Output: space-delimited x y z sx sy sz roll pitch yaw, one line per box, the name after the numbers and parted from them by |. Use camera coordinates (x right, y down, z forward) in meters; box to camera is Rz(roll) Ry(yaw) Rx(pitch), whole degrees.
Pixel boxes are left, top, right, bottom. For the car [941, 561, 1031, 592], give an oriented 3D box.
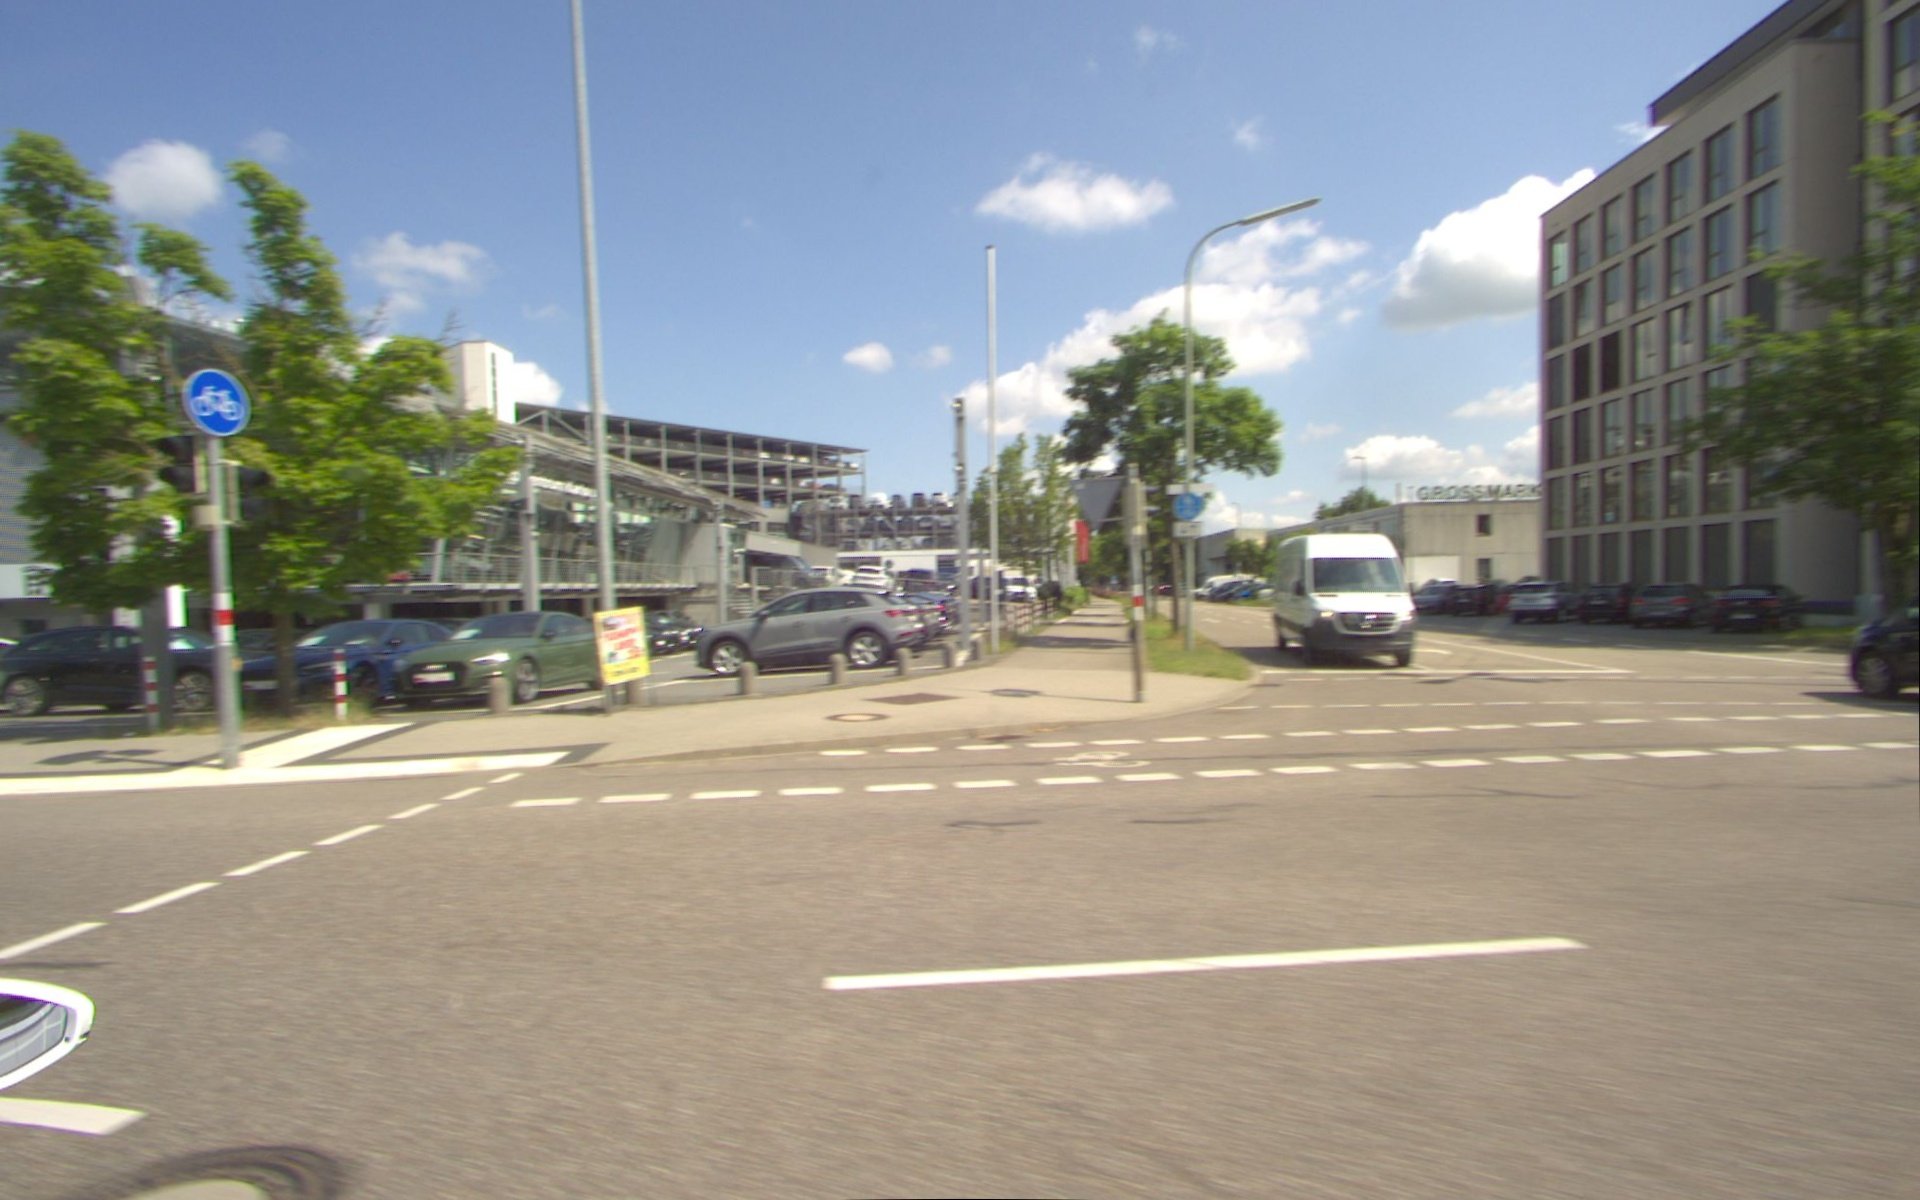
1.877 -1.658 71.140 6.283 2.130 1.765 1 0 2 | car

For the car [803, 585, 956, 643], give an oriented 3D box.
-2.458 0.424 31.262 4.500 1.700 1.907 1 0 4 | car

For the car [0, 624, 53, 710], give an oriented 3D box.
-17.474 1.119 16.266 1.761 1.482 4.003 -1 -3 2 | car

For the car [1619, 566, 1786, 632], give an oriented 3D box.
24.058 -0.024 32.567 3.922 2.040 2.000 1 0 -1 | car

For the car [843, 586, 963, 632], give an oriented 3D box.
-2.189 0.348 39.338 4.500 1.700 1.907 1 0 4 | car

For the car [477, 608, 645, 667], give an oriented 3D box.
-12.499 1.152 31.560 4.464 1.763 2.000 1 0 1 | car

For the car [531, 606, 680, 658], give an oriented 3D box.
-12.364 1.094 35.088 4.500 1.700 1.907 1 0 4 | car

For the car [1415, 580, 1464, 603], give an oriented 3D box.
37.086 -0.643 77.484 1.961 1.706 4.000 1 0 2 | car

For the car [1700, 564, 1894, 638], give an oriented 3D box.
24.035 0.034 28.876 3.922 2.040 2.000 1 0 -1 | car

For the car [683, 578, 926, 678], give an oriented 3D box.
-3.067 0.562 20.353 4.501 1.700 1.907 -3 0 4 | car

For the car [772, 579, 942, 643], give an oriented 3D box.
-2.846 0.314 28.332 4.500 1.700 1.907 1 0 4 | car

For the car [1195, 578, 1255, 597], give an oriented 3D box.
30.239 -1.437 114.439 6.238 2.040 2.573 1 0 5 | car

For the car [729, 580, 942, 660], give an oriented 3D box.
-2.734 0.435 22.646 4.500 1.700 1.907 1 0 4 | car

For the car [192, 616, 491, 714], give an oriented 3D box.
-9.713 0.938 16.273 1.870 1.314 4.590 1 0 2 | car

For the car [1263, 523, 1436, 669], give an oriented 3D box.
8.132 -0.053 21.697 2.098 2.641 6.861 1 0 9 | car

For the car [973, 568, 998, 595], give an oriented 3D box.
1.667 -1.143 63.712 1.535 1.572 3.602 1 0 2 | car

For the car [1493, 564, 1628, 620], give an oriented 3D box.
22.954 -0.288 38.383 3.922 2.040 2.000 1 0 -1 | car

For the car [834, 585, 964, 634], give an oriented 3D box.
-2.177 0.350 36.423 4.500 1.700 1.907 1 0 4 | car

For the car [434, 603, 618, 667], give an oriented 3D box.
-12.521 0.986 29.103 4.464 1.763 2.000 1 0 1 | car

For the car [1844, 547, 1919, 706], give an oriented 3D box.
12.493 0.323 11.297 1.794 1.930 3.999 0 0 7 | car

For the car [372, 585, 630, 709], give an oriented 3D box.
-7.102 0.666 16.123 1.870 1.700 4.590 1 0 2 | car

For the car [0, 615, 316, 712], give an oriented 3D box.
-13.745 1.069 16.890 4.663 1.482 1.797 -1 -2 2 | car

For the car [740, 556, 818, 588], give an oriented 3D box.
-10.918 -1.686 60.471 4.369 1.825 1.765 1 0 2 | car

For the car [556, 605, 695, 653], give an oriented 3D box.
-12.397 1.063 37.230 4.500 1.700 1.907 1 0 4 | car

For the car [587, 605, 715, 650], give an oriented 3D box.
-12.229 1.060 39.790 4.500 1.700 1.907 1 0 4 | car

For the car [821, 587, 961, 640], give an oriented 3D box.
-2.280 0.444 33.832 4.500 1.700 1.907 1 0 4 | car

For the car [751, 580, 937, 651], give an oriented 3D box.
-2.928 0.388 25.921 4.500 1.700 1.907 1 0 4 | car

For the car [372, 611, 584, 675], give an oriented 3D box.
-12.608 1.148 26.396 4.663 1.529 1.986 -1 -2 2 | car

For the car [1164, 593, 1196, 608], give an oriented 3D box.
30.613 0.085 139.292 3.922 2.040 2.000 1 0 -1 | car

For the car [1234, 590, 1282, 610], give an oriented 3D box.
26.707 -0.011 89.840 3.923 1.773 1.999 1 0 8 | car

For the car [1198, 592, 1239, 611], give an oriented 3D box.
28.080 0.138 108.759 3.922 2.040 2.000 1 0 -1 | car

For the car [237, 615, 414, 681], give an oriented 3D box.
-17.171 1.255 27.395 1.870 1.519 4.359 -1 1 2 | car

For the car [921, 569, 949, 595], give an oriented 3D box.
-1.578 -1.144 64.581 1.535 1.572 3.602 1 0 2 | car

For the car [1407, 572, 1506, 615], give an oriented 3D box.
24.930 -0.310 50.384 3.922 2.040 2.000 1 0 -1 | car

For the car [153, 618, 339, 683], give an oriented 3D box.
-19.596 1.329 27.757 1.870 1.519 4.359 -1 1 2 | car

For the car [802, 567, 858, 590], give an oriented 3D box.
-9.403 -1.541 72.501 3.923 1.572 1.764 1 0 -5 | car

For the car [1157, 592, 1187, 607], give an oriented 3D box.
30.299 -0.090 143.168 3.922 2.040 2.000 1 0 -1 | car
